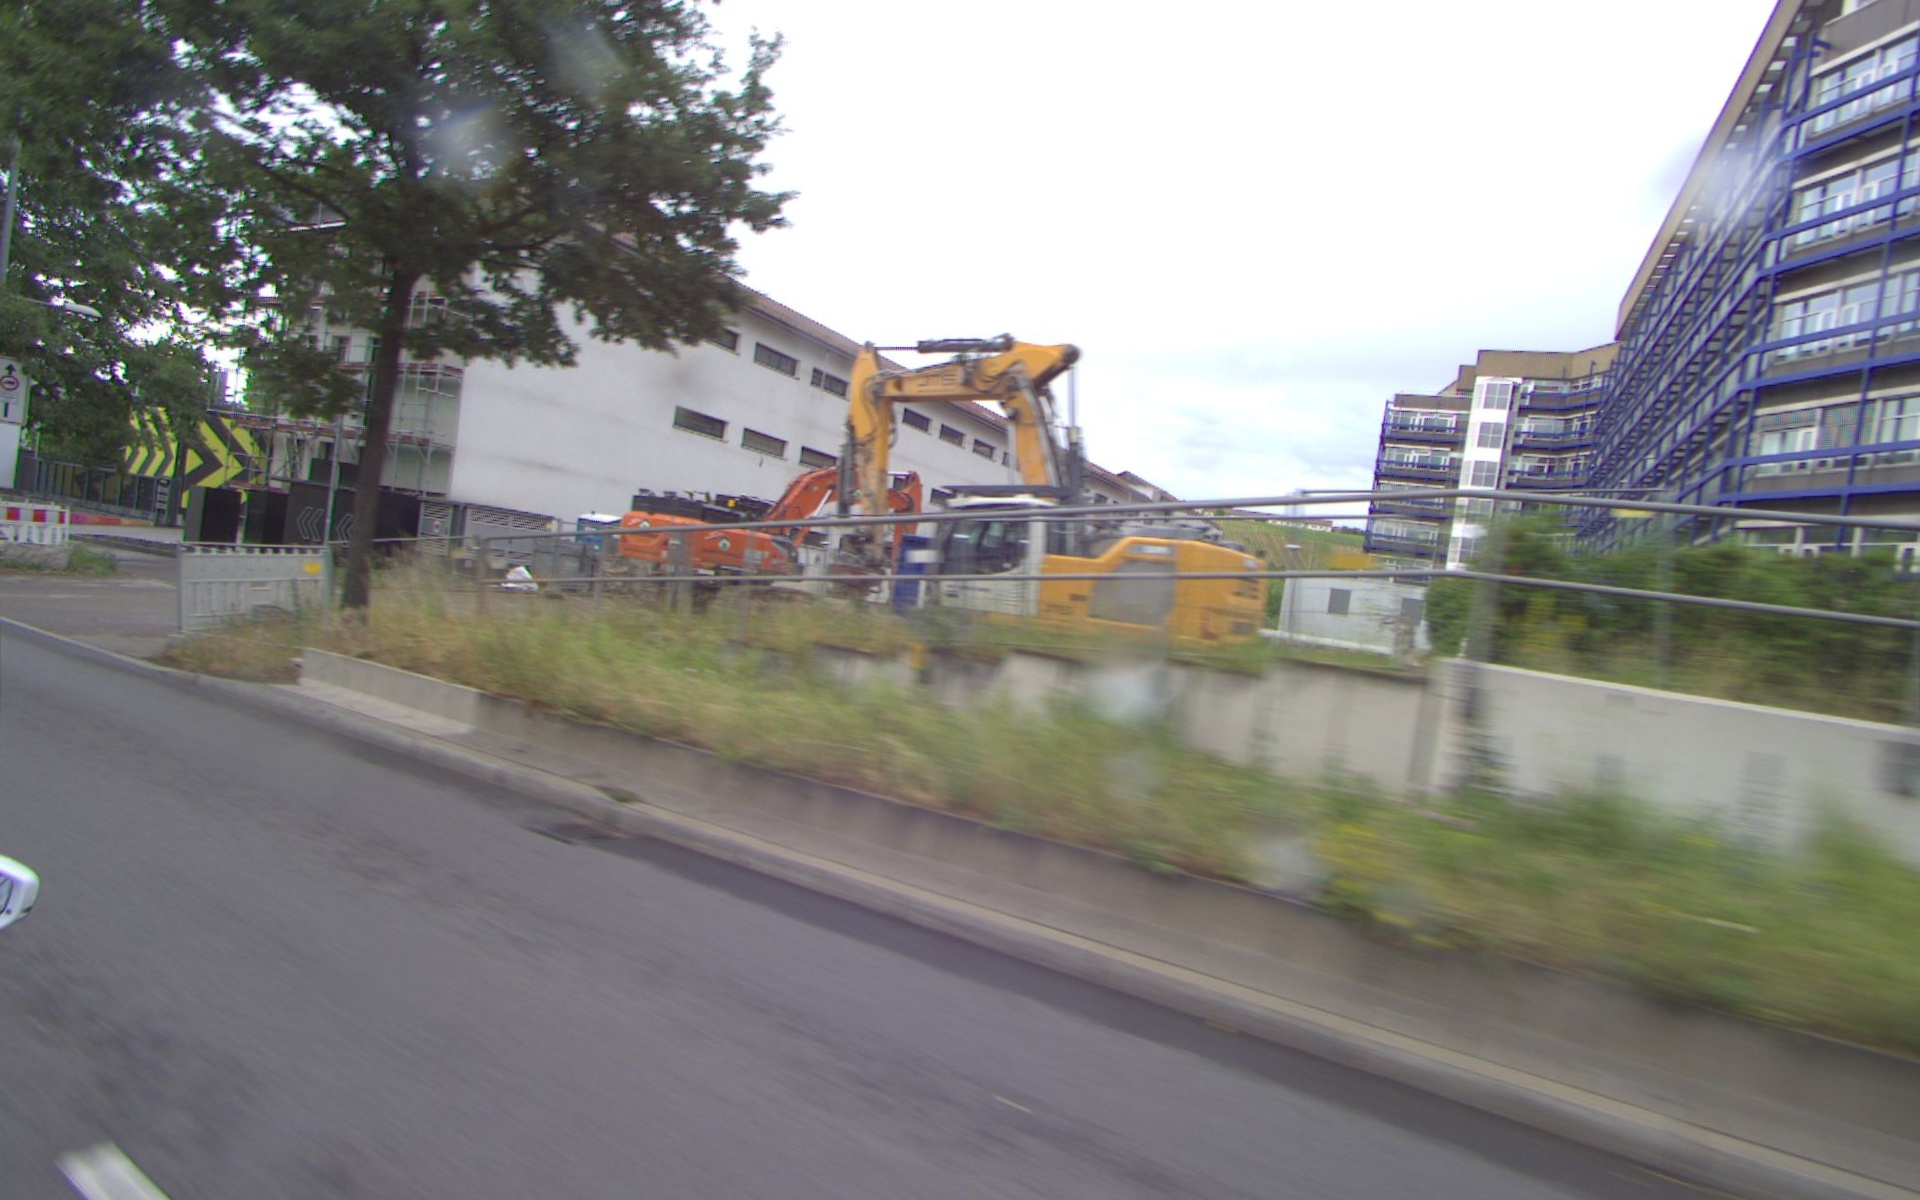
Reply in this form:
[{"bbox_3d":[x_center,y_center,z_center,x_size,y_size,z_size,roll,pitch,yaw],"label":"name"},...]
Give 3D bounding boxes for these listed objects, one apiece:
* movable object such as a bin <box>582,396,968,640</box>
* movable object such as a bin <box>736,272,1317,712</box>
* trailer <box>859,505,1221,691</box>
[{"bbox_3d":[-4.597,-1.830,29.476,3.725,5.326,12.158,6,0,30],"label":"movable object such as a bin"},{"bbox_3d":[0.845,-1.618,16.828,8.621,5.750,3.295,6,-2,33],"label":"movable object such as a bin"},{"bbox_3d":[1.785,-0.018,22.598,7.355,3.077,2.650,7,-2,8],"label":"trailer"}]
